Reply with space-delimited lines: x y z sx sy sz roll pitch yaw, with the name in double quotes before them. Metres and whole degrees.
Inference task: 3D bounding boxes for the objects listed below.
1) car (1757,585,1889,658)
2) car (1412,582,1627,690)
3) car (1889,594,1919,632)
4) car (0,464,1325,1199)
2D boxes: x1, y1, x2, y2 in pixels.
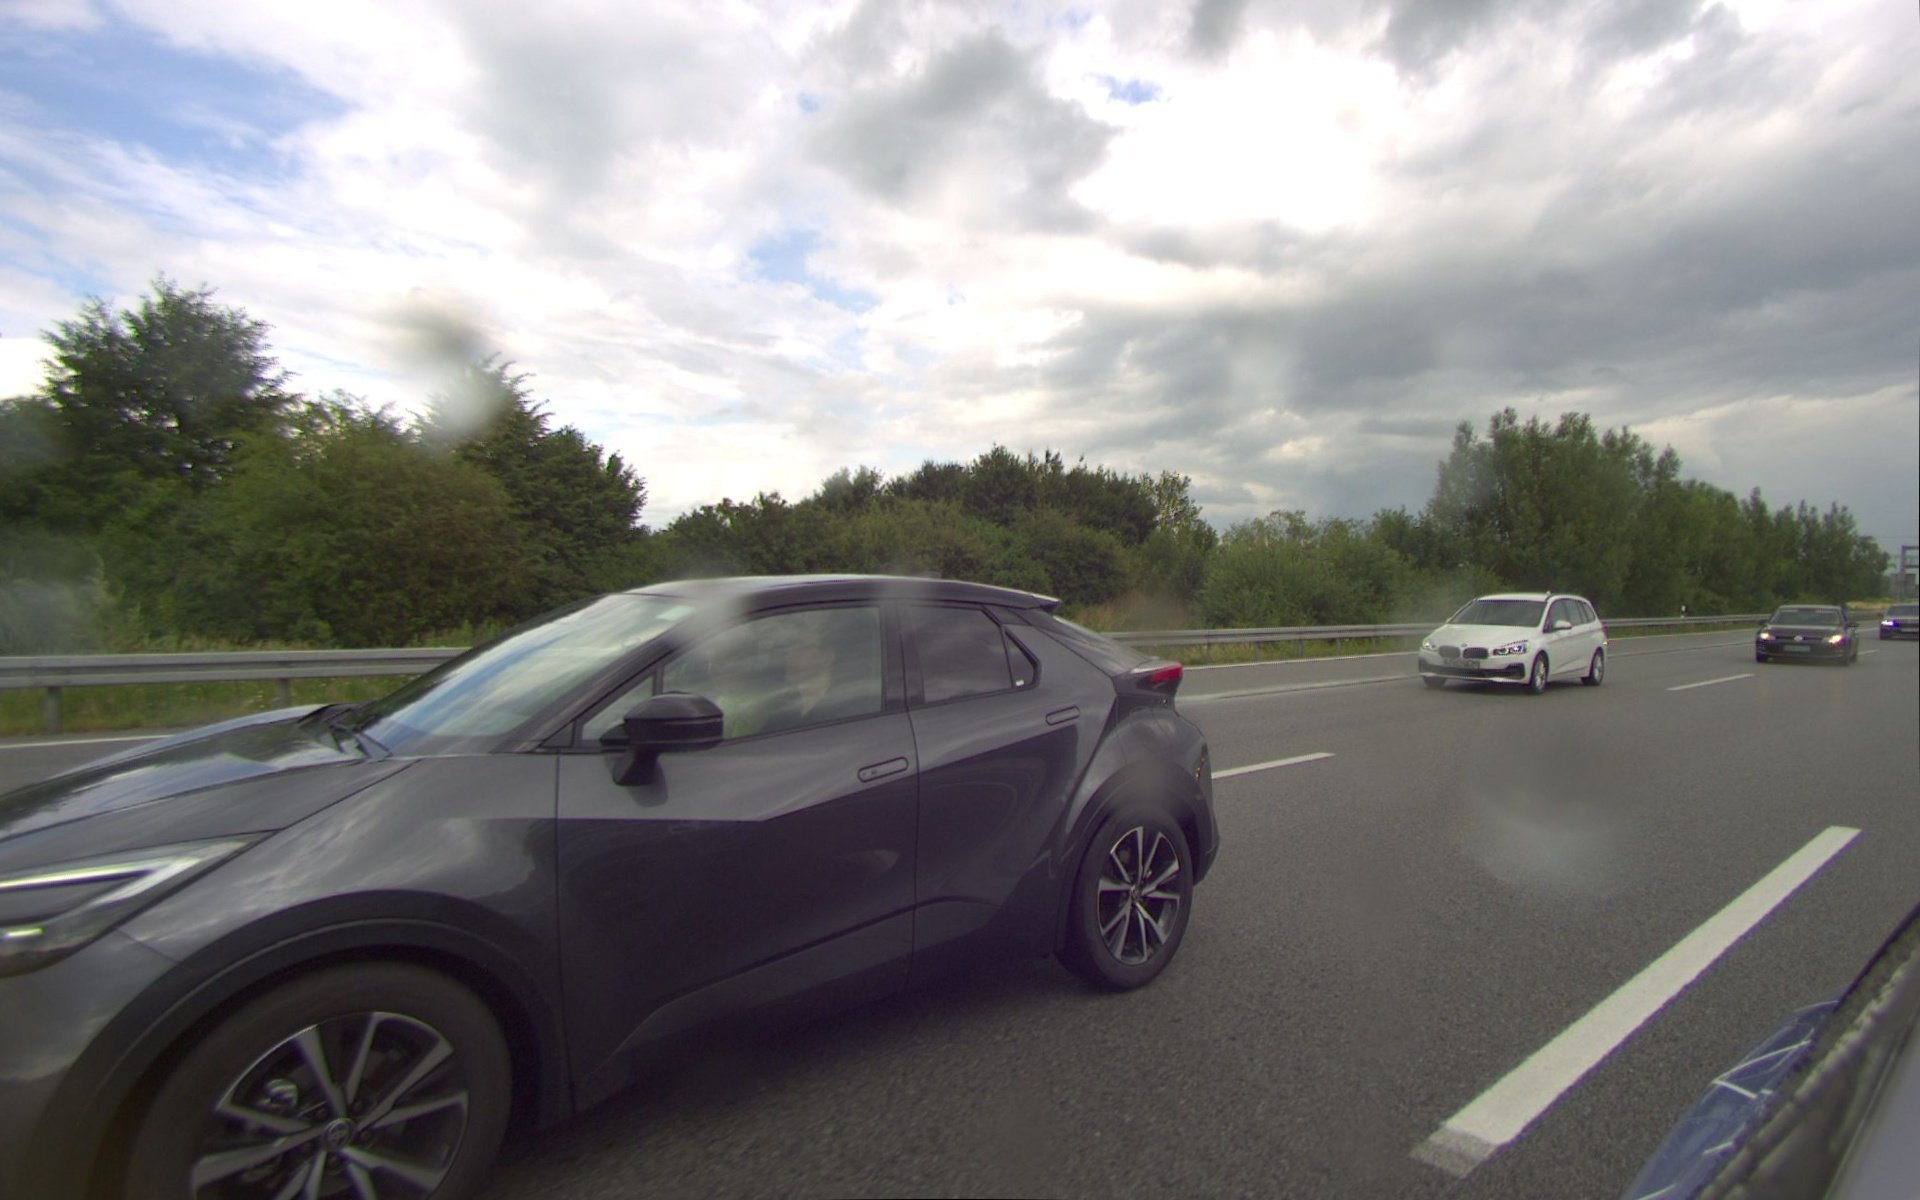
"car" 21.400 0.480 25.041 4.376 1.651 1.711 0 0 -39
"car" 9.677 0.520 17.349 4.614 1.619 1.813 0 1 -42
"car" 39.891 0.511 41.755 4.694 1.510 1.942 0 1 -43
"car" -0.626 0.575 3.730 4.518 1.633 1.783 0 1 -42
